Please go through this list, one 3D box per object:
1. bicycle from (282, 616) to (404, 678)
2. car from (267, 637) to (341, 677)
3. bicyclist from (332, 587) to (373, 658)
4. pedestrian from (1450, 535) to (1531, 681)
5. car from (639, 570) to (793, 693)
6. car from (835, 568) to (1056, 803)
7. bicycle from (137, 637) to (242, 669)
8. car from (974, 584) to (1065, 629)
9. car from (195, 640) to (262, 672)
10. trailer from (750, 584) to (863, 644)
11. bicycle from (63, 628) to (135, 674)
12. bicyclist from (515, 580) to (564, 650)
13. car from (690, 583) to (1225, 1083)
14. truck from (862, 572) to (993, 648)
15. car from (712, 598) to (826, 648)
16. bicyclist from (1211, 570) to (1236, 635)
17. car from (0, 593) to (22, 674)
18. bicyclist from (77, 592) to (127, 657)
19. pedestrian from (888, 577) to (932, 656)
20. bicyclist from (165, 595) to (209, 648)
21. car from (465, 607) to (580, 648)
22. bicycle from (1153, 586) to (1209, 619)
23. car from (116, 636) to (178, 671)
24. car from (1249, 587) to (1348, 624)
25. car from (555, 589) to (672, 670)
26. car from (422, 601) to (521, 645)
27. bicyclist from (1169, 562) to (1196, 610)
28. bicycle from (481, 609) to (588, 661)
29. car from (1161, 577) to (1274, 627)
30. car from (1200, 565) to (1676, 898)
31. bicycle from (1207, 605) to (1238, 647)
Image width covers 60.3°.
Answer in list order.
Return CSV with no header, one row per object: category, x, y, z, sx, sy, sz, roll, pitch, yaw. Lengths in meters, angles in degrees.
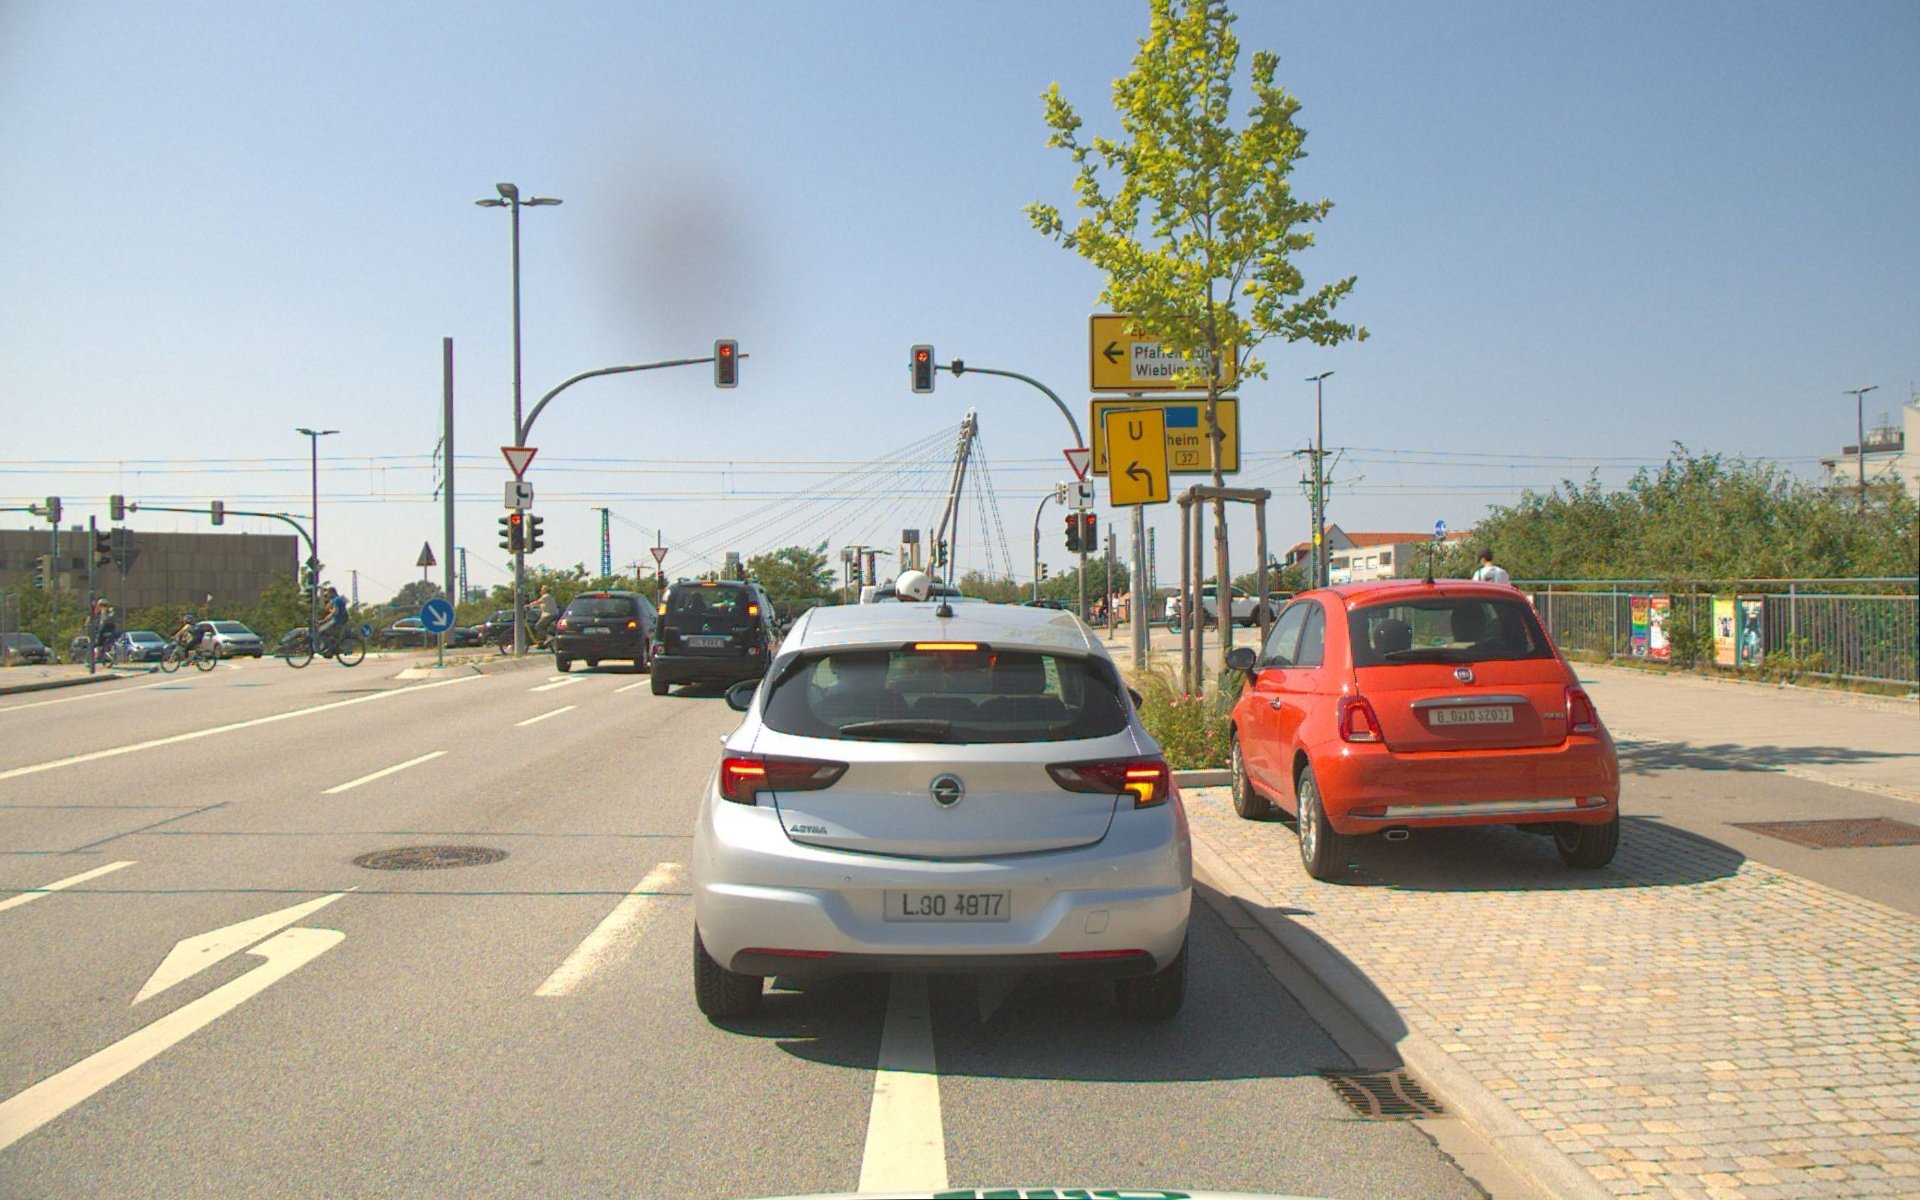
bicycle,-14.044,1.058,37.664,2.490,1.153,0.723,-5,2,-23
car,-35.797,3.100,90.222,3.921,2.049,1.992,1,-1,37
bicyclist,-13.870,0.518,37.770,0.811,1.587,0.857,2,-1,-23
pedestrian,6.959,0.113,21.732,0.743,1.862,0.884,1,-1,-1
car,-3.532,0.452,24.600,1.767,1.650,3.915,1,-1,-1
car,-0.152,0.659,14.155,1.602,1.703,3.743,1,-1,-2
bicycle,-17.828,1.227,38.287,2.199,0.704,0.516,0,-1,3
car,2.775,0.298,77.342,3.919,2.049,1.993,0,-1,-14
car,-29.631,2.268,67.056,2.442,1.262,1.270,1,-1,-23
trailer,-5.479,0.517,59.523,3.907,2.049,1.999,1,-1,-2
bicycle,-20.544,1.198,39.432,2.465,1.025,0.602,0,-1,40
bicyclist,-9.774,0.349,38.482,0.927,1.596,0.822,1,-1,-5
car,-0.055,0.731,7.286,1.656,1.546,4.269,0,0,-1
truck,-1.206,0.366,59.745,4.600,2.585,1.998,1,-1,-4
car,-7.267,0.882,63.259,3.902,1.815,2.001,1,-1,8
bicyclist,7.873,0.092,49.409,0.621,1.920,0.596,1,-1,18
car,-25.686,0.842,43.480,1.653,2.049,3.958,2,-1,-31
bicyclist,-20.416,0.591,39.344,0.646,1.528,0.840,0,-1,39
pedestrian,-1.222,0.402,40.198,0.736,1.896,0.742,2,-1,-41
bicyclist,-17.902,0.501,38.301,0.643,1.196,0.731,1,-1,0
car,-16.070,0.998,60.784,3.695,1.414,1.667,1,-1,16
bicycle,7.666,0.081,57.426,1.829,1.087,0.577,1,-1,-2
car,-37.041,2.433,75.353,3.101,1.464,1.575,0,-1,45
car,15.984,0.277,78.160,4.180,1.703,1.990,1,-1,-18
car,-6.391,0.544,30.811,1.555,1.419,3.338,0,-1,-2
car,-19.509,0.911,66.049,3.438,1.669,1.798,1,-1,27
bicyclist,7.723,-0.479,57.389,0.756,1.638,0.949,1,-1,-1
bicycle,-9.876,0.817,38.463,2.312,1.147,0.676,1,-1,-6
car,9.989,0.084,64.291,3.960,1.846,1.927,1,-1,-11
car,2.626,0.599,10.039,1.636,1.566,3.916,-2,1,-2
bicycle,7.843,0.778,49.375,0.542,1.198,2.088,2,0,19
